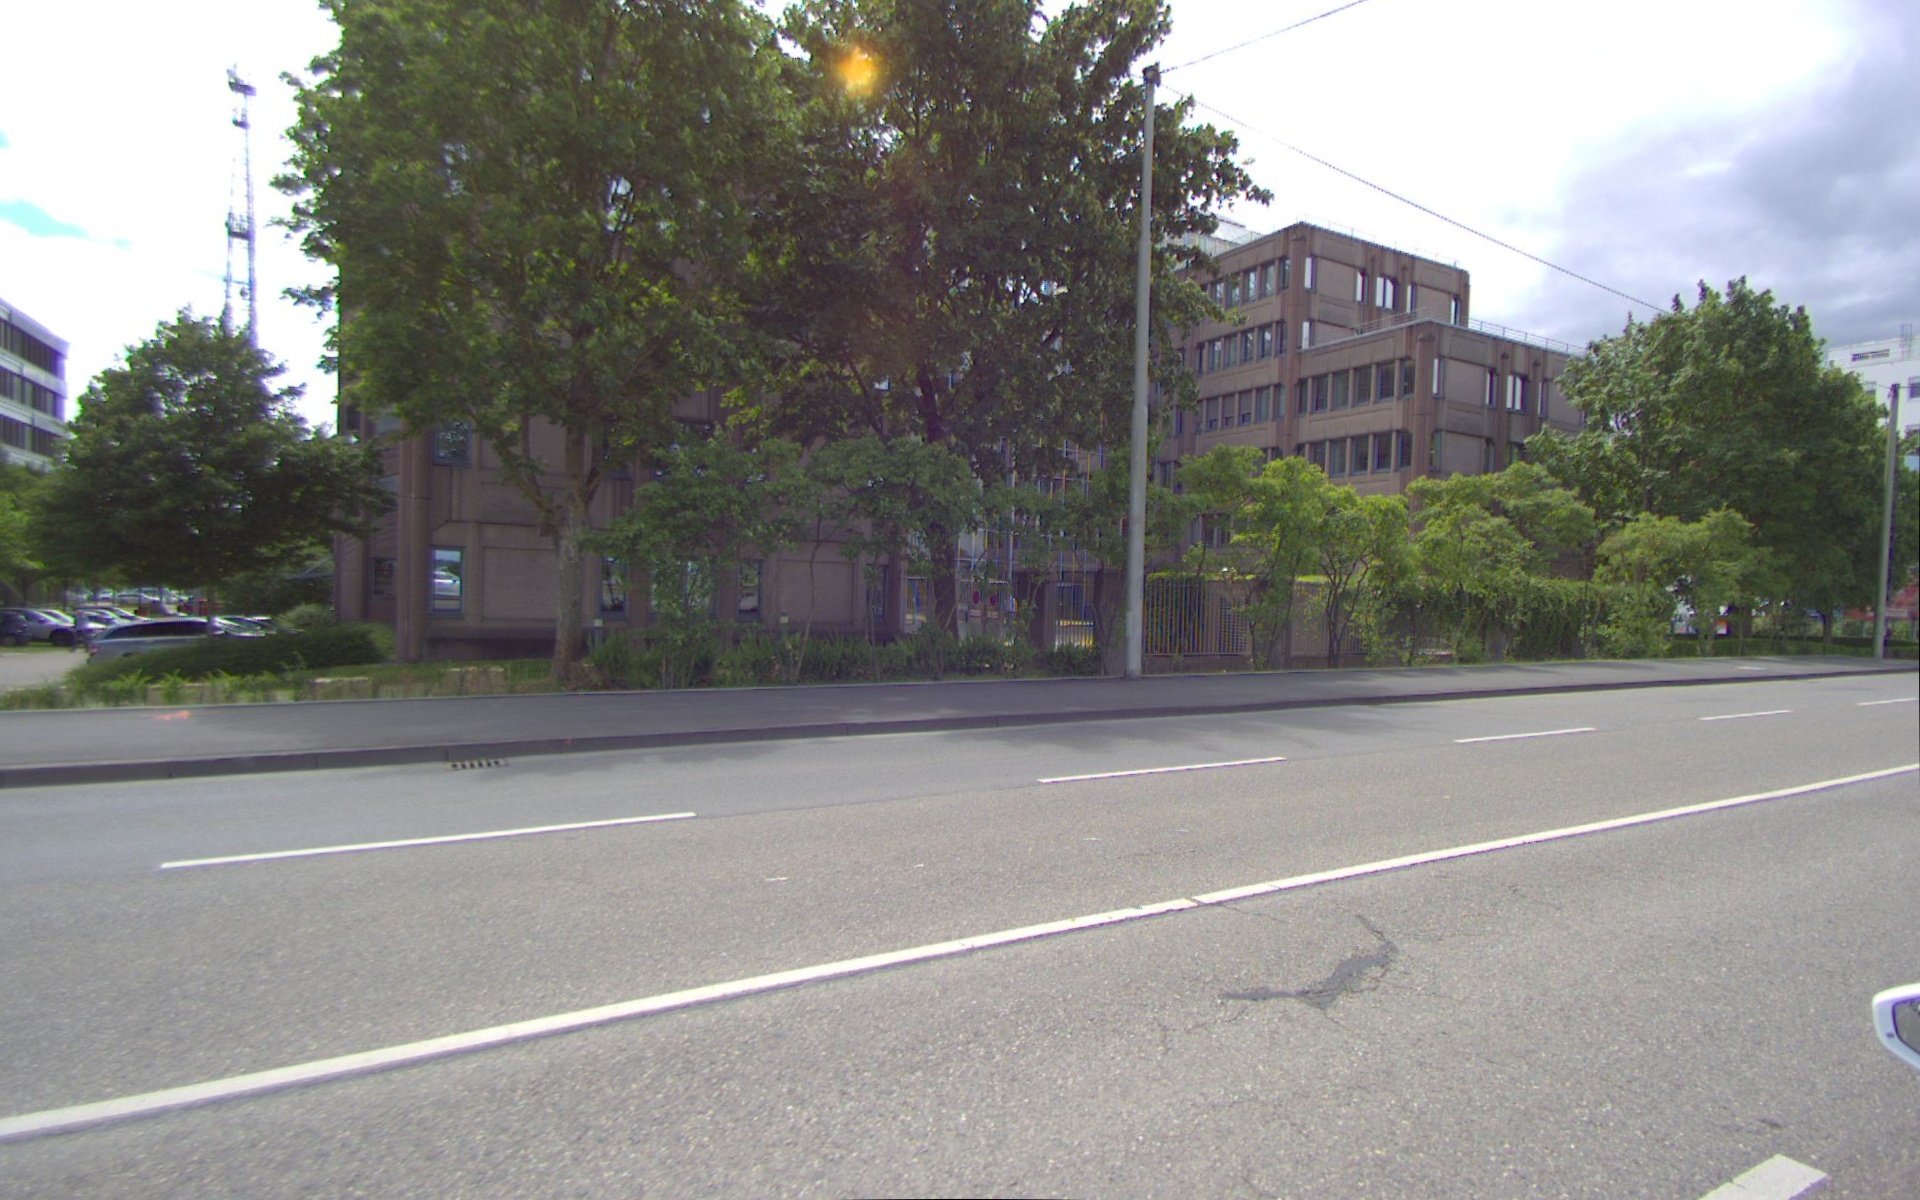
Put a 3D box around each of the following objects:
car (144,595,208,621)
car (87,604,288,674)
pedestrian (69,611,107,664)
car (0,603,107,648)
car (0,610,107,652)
[{"bbox_3d":[-65.477,0.659,83.942,3.953,2.040,1.984,2,0,-30],"label":"car"},{"bbox_3d":[-20.346,1.021,26.707,3.953,1.684,1.984,2,0,-30],"label":"car"},{"bbox_3d":[-37.849,1.641,43.605,0.990,2.230,0.710,4,-1,-30],"label":"pedestrian"},{"bbox_3d":[-43.389,1.215,47.758,3.953,2.040,1.984,2,0,-30],"label":"car"},{"bbox_3d":[-46.412,1.586,51.340,3.953,2.040,1.984,2,0,-30],"label":"car"}]
